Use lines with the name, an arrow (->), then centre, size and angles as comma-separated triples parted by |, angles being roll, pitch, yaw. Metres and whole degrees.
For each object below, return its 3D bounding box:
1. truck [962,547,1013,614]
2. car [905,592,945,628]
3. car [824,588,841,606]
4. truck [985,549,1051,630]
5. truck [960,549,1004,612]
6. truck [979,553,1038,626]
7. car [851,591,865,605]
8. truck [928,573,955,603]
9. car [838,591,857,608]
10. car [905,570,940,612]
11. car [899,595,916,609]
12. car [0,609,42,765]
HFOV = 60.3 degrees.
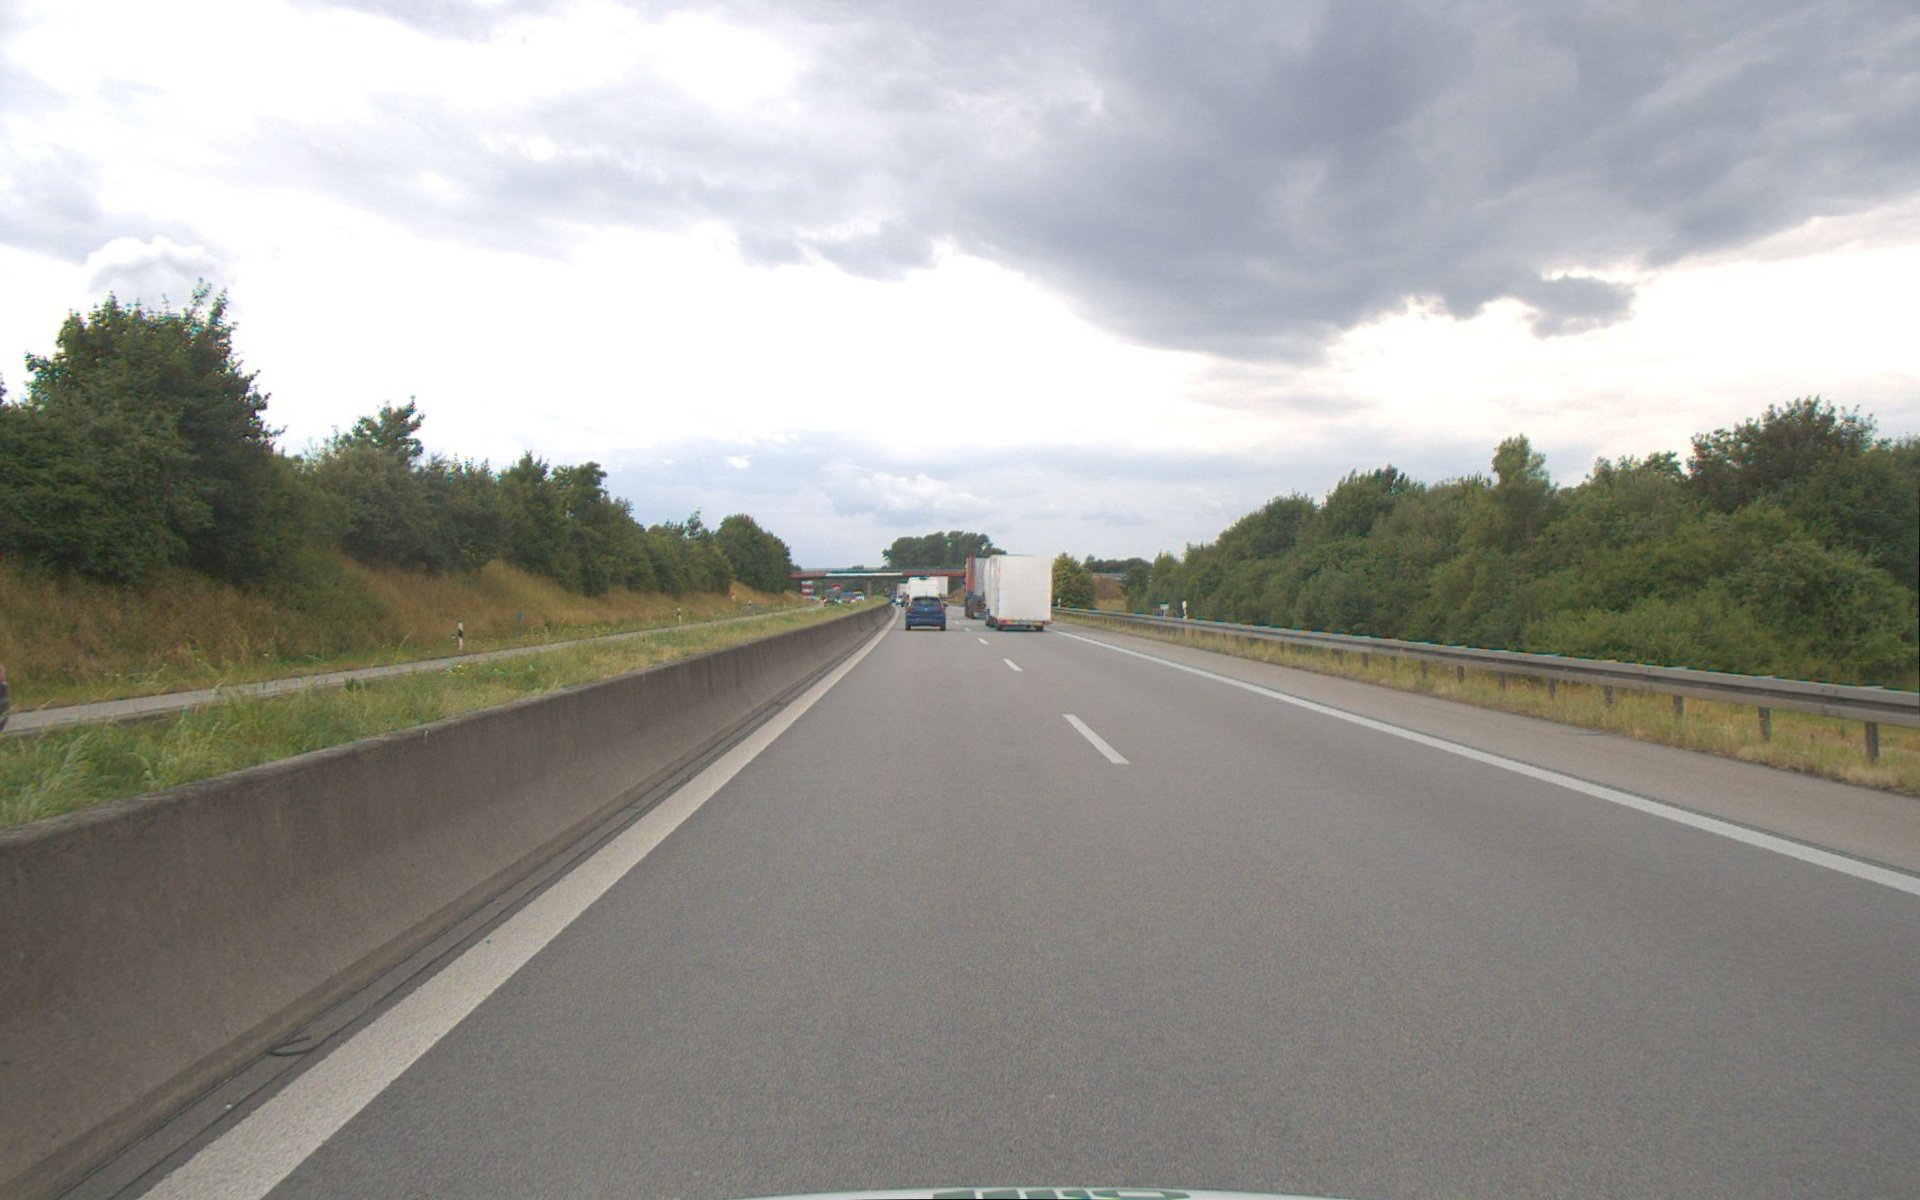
truck -> 1.692, -1.267, 107.168 | 2.620, 4.116, 11.102 | -1, 1, -3
car -> -1.462, 0.393, 69.299 | 1.630, 1.431, 3.648 | 0, 0, -1
car -> -18.434, -0.436, 239.082 | 2.126, 2.508, 6.720 | -2, 0, -2
truck -> 2.423, -0.433, 70.996 | 2.366, 3.278, 7.141 | 0, 0, -2
truck -> 1.434, -1.329, 112.514 | 2.620, 4.116, 5.509 | -1, 1, -3
truck -> 2.216, -0.464, 78.182 | 2.381, 3.300, 7.244 | 0, 0, -2
car -> -15.232, -0.364, 247.750 | 1.939, 2.049, 5.128 | 0, 1, -2
truck -> -2.525, -1.543, 219.491 | 3.049, 3.754, 9.316 | -2, 0, -3
car -> -12.254, -0.063, 180.582 | 1.880, 1.723, 4.595 | -2, 0, -2
car -> -2.381, -0.554, 103.070 | 2.087, 2.526, 5.837 | 0, 0, -2
car -> -6.267, 0.214, 197.786 | 1.895, 1.672, 4.902 | 0, 0, -1
car -> -10.403, 0.927, 14.792 | 1.808, 1.523, 4.579 | -3, 1, -1
